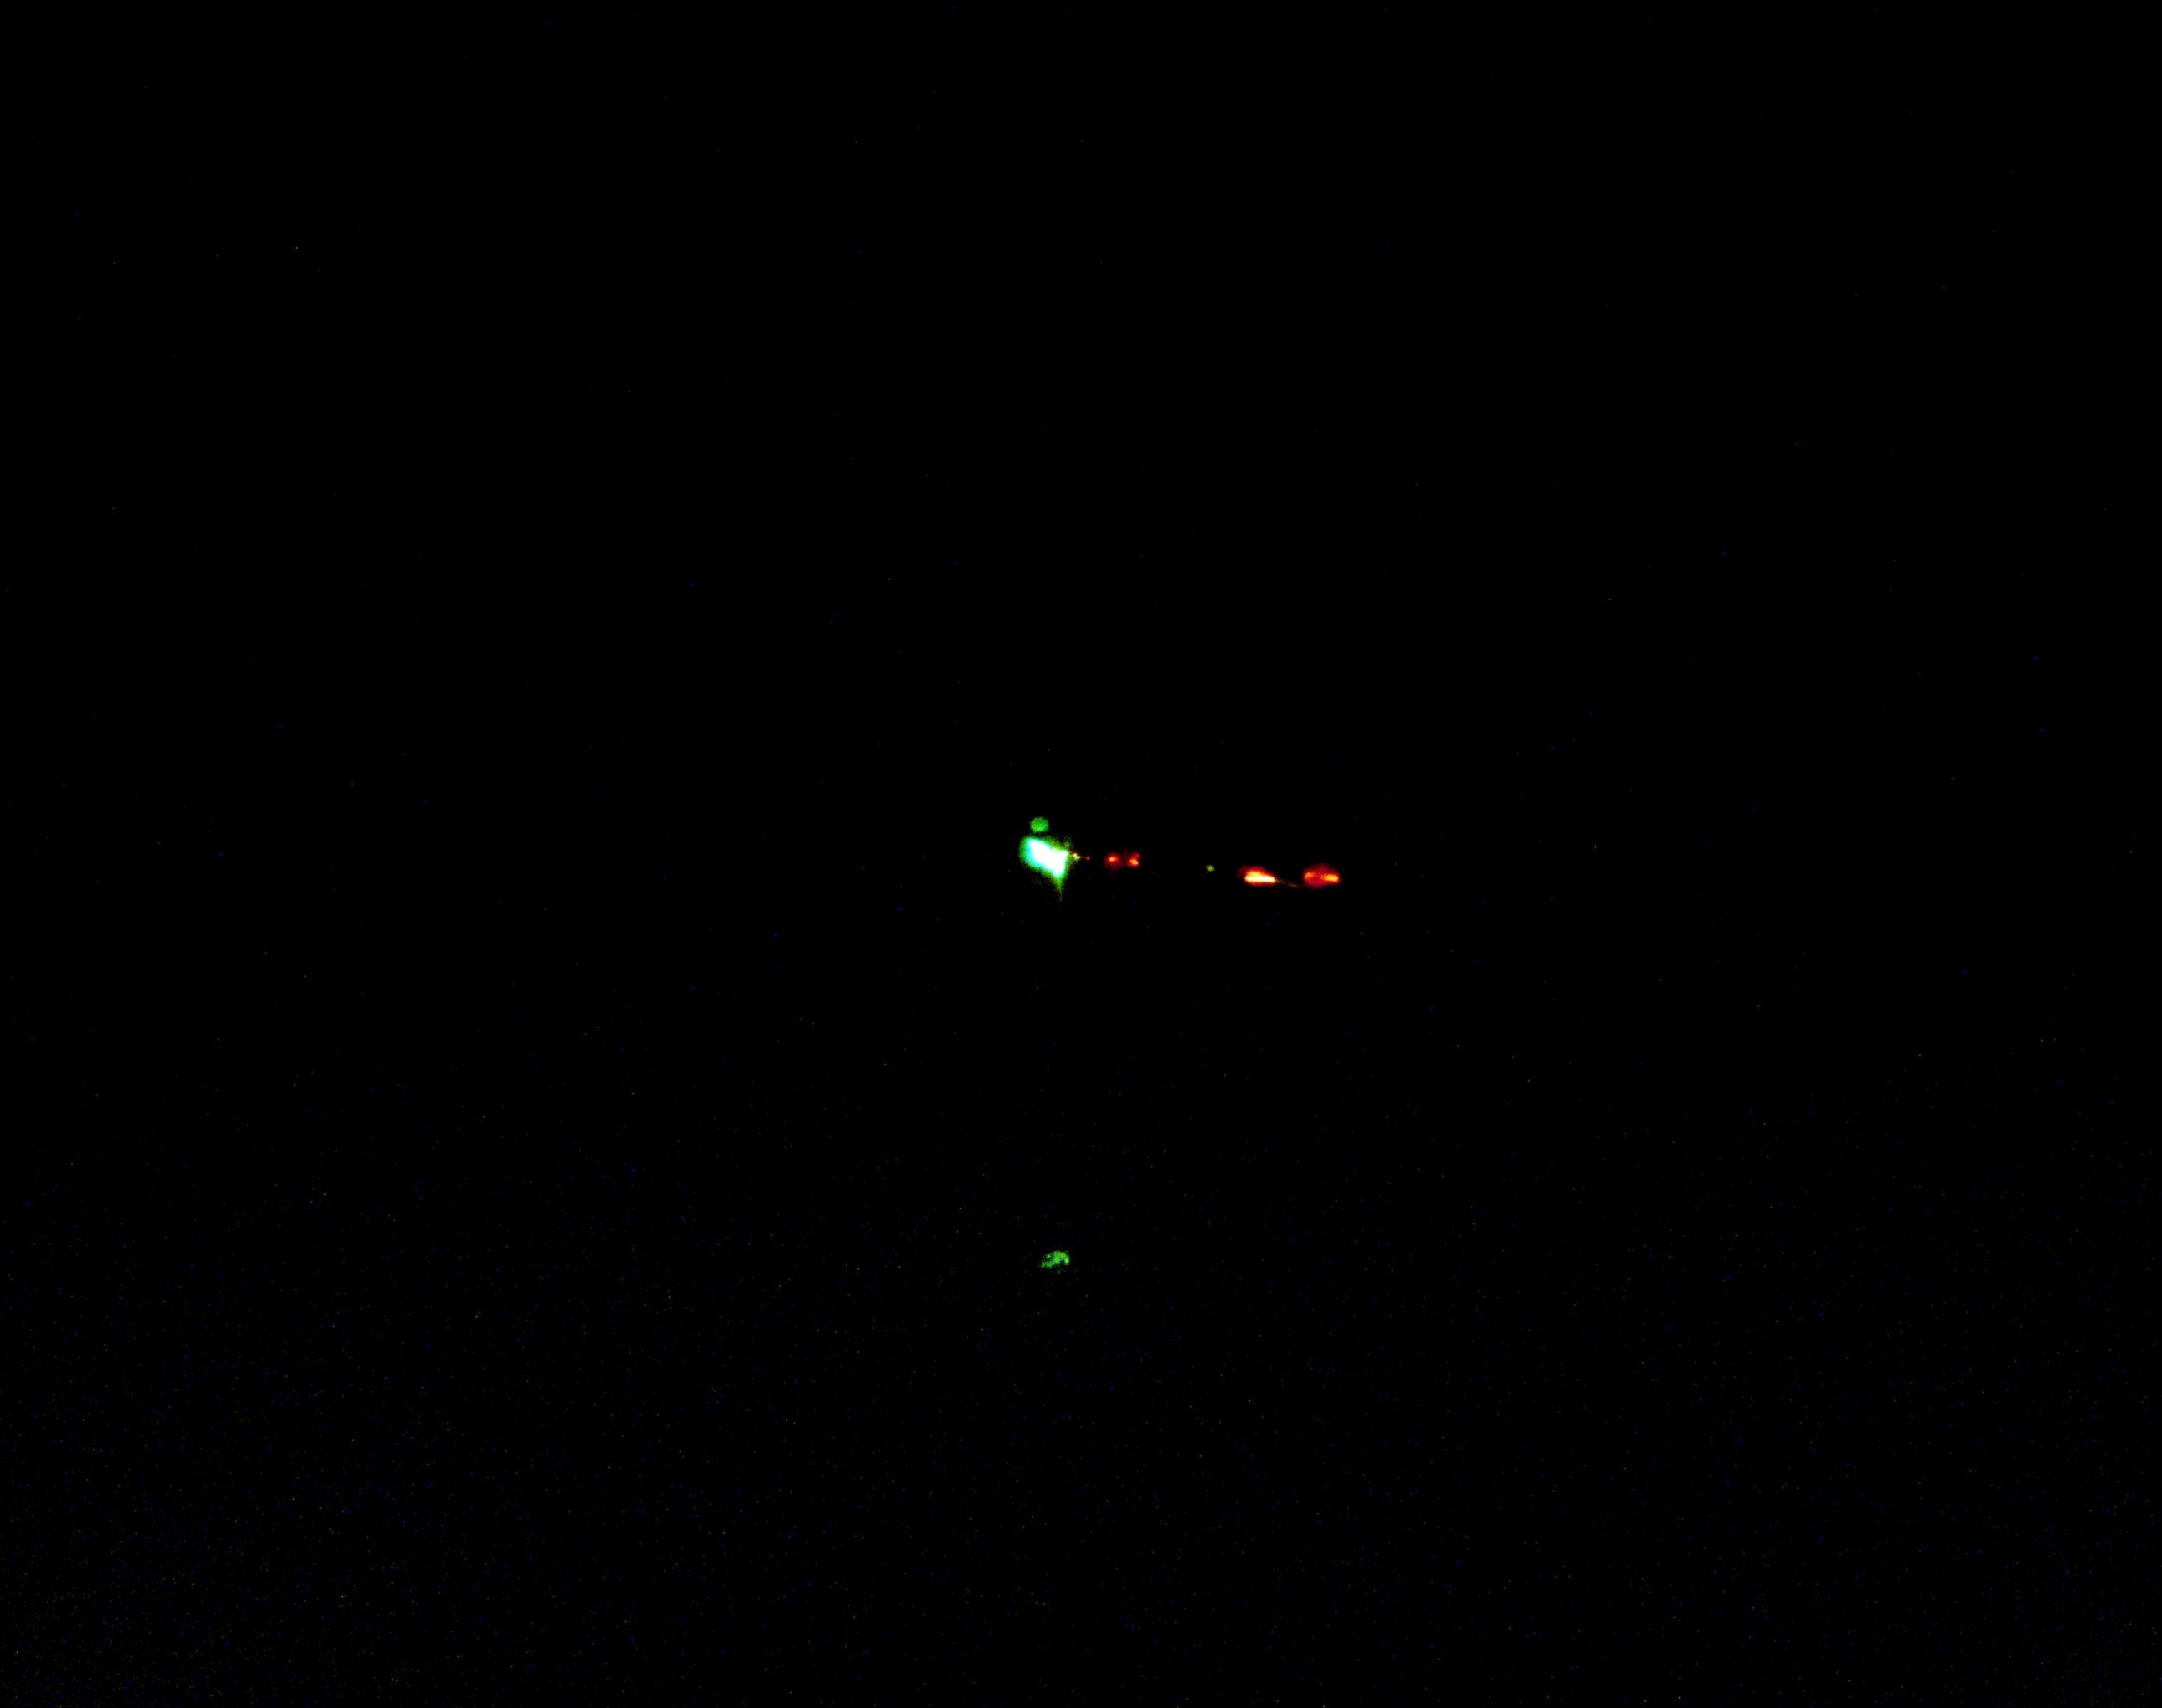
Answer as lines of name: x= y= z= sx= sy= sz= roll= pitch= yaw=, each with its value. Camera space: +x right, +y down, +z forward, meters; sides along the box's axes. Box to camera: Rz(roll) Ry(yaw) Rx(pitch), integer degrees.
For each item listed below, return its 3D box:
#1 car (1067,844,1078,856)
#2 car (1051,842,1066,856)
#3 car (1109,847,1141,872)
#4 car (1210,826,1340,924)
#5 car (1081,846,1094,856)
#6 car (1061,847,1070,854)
car: x=-1.468 y=-0.720 z=130.163 sx=1.808 sy=1.917 sz=3.998 roll=-1 pitch=2 yaw=-2
car: x=-3.317 y=-0.759 z=109.966 sx=1.999 sy=2.002 sz=3.997 roll=0 pitch=2 yaw=-4
car: x=3.138 y=0.364 z=54.855 sx=1.999 sy=1.615 sz=3.999 roll=-2 pitch=1 yaw=-1
car: x=4.355 y=0.431 z=17.758 sx=1.998 sy=2.002 sz=4.275 roll=0 pitch=0 yaw=1
car: x=0.861 y=-0.437 z=106.776 sx=1.600 sy=1.394 sz=3.468 roll=-1 pitch=2 yaw=-3
car: x=-3.462 y=-0.755 z=170.762 sx=1.824 sy=1.433 sz=3.997 roll=-1 pitch=2 yaw=-4
